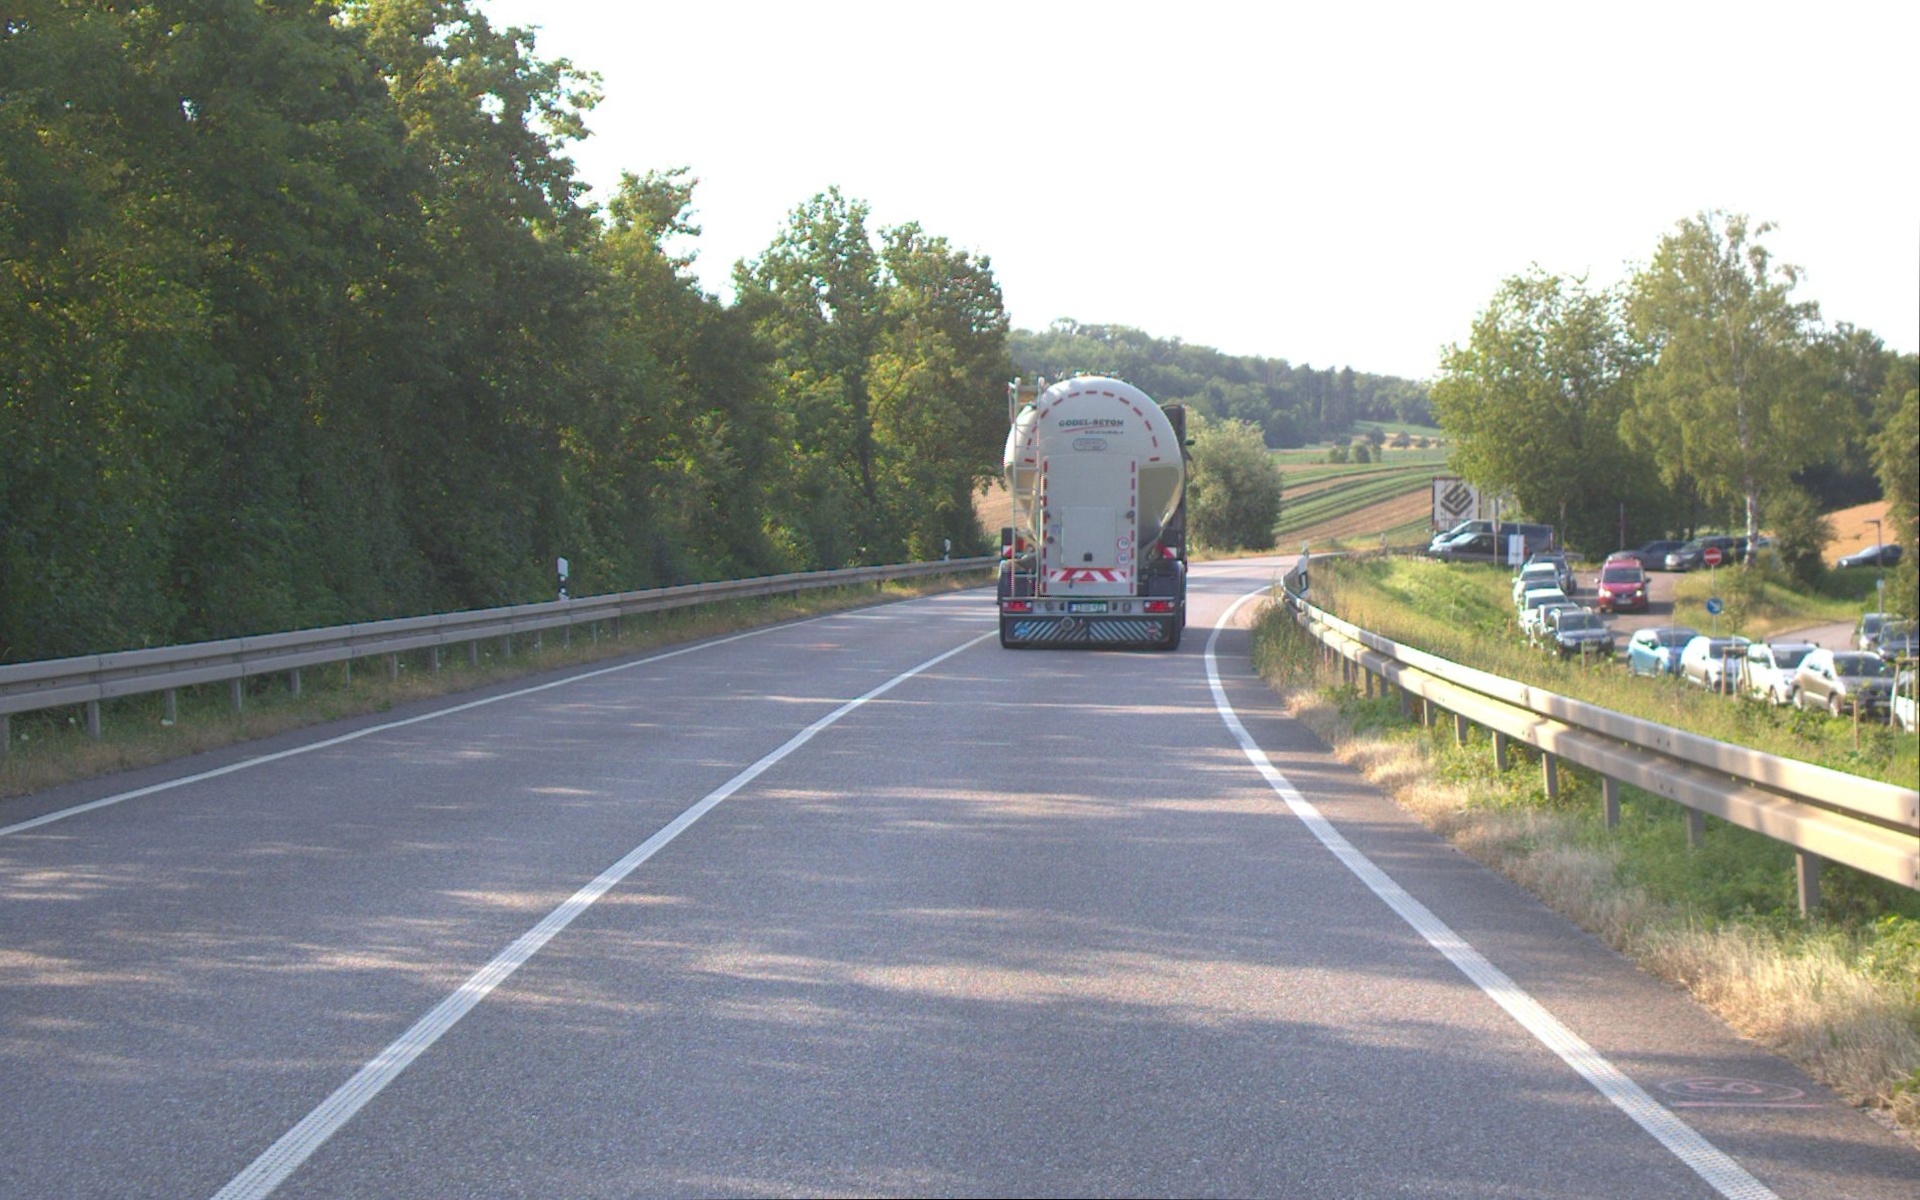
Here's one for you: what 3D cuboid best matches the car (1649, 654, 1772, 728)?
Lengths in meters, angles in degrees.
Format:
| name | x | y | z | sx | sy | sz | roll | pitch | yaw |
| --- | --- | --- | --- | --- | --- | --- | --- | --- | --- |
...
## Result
| name | x | y | z | sx | sy | sz | roll | pitch | yaw |
| --- | --- | --- | --- | --- | --- | --- | --- | --- | --- |
| car | 20.135 | 2.424 | 92.402 | 1.892 | 1.554 | 4.784 | -4 | 3 | -4 |

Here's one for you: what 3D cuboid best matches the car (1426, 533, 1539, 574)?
| name | x | y | z | sx | sy | sz | roll | pitch | yaw |
| --- | --- | --- | --- | --- | --- | --- | --- | --- | --- |
| car | 22.259 | -1.968 | 146.456 | 4.309 | 1.395 | 1.721 | 3 | 3 | -16 |

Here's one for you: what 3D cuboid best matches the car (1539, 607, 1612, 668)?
| name | x | y | z | sx | sy | sz | roll | pitch | yaw |
| --- | --- | --- | --- | --- | --- | --- | --- | --- | --- |
| car | 19.711 | 1.172 | 110.254 | 1.892 | 1.554 | 4.782 | -3 | 3 | 6 |

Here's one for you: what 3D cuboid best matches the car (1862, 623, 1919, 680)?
| name | x | y | z | sx | sy | sz | roll | pitch | yaw |
| --- | --- | --- | --- | --- | --- | --- | --- | --- | --- |
| car | 27.430 | 1.497 | 100.876 | 1.702 | 1.394 | 4.781 | -3 | 1 | 16 |

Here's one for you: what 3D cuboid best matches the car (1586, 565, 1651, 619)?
| name | x | y | z | sx | sy | sz | roll | pitch | yaw |
| --- | --- | --- | --- | --- | --- | --- | --- | --- | --- |
| car | 24.708 | -0.319 | 129.198 | 1.892 | 1.681 | 5.086 | -3 | 3 | 6 |

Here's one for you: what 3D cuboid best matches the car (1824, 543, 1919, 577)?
| name | x | y | z | sx | sy | sz | roll | pitch | yaw |
| --- | --- | --- | --- | --- | --- | --- | --- | --- | --- |
| car | 42.062 | -1.840 | 157.370 | 4.627 | 1.502 | 2.001 | 0 | 2 | -24 |

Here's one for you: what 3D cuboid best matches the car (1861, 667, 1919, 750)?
| name | x | y | z | sx | sy | sz | roll | pitch | yaw |
| --- | --- | --- | --- | --- | --- | --- | --- | --- | --- |
| car | 21.848 | 2.424 | 76.041 | 1.891 | 1.554 | 4.784 | -4 | 3 | -9 |

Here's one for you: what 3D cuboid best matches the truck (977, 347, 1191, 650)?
| name | x | y | z | sx | sy | sz | roll | pitch | yaw |
| --- | --- | --- | --- | --- | --- | --- | --- | --- | --- |
| truck | 1.904 | -1.507 | 53.726 | 2.893 | 4.128 | 13.172 | 1 | 1 | 2 |

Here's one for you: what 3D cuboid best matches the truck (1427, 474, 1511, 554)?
| name | x | y | z | sx | sy | sz | roll | pitch | yaw |
| --- | --- | --- | --- | --- | --- | --- | --- | --- | --- |
| truck | 27.935 | -4.754 | 188.269 | 3.185 | 4.213 | 13.164 | 0 | 2 | 14 |

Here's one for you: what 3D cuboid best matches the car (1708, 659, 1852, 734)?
| name | x | y | z | sx | sy | sz | roll | pitch | yaw |
| --- | --- | --- | --- | --- | --- | --- | --- | --- | --- |
| car | 20.809 | 2.433 | 87.443 | 1.891 | 1.554 | 4.784 | -1 | 2 | -9 |

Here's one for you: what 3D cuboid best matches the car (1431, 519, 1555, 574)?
| name | x | y | z | sx | sy | sz | roll | pitch | yaw |
| --- | --- | --- | --- | --- | --- | --- | --- | --- | --- |
| car | 23.301 | -2.350 | 150.255 | 5.142 | 1.937 | 1.974 | 6 | 3 | 10 |

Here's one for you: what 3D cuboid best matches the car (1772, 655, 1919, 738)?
| name | x | y | z | sx | sy | sz | roll | pitch | yaw |
| --- | --- | --- | --- | --- | --- | --- | --- | --- | --- |
| car | 21.168 | 2.261 | 81.729 | 1.891 | 1.554 | 4.784 | -4 | 3 | -9 |

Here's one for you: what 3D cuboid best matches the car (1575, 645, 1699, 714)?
| name | x | y | z | sx | sy | sz | roll | pitch | yaw |
| --- | --- | --- | --- | --- | --- | --- | --- | --- | --- |
| car | 19.352 | 2.244 | 98.479 | 1.891 | 1.554 | 4.784 | -4 | 3 | -9 |
